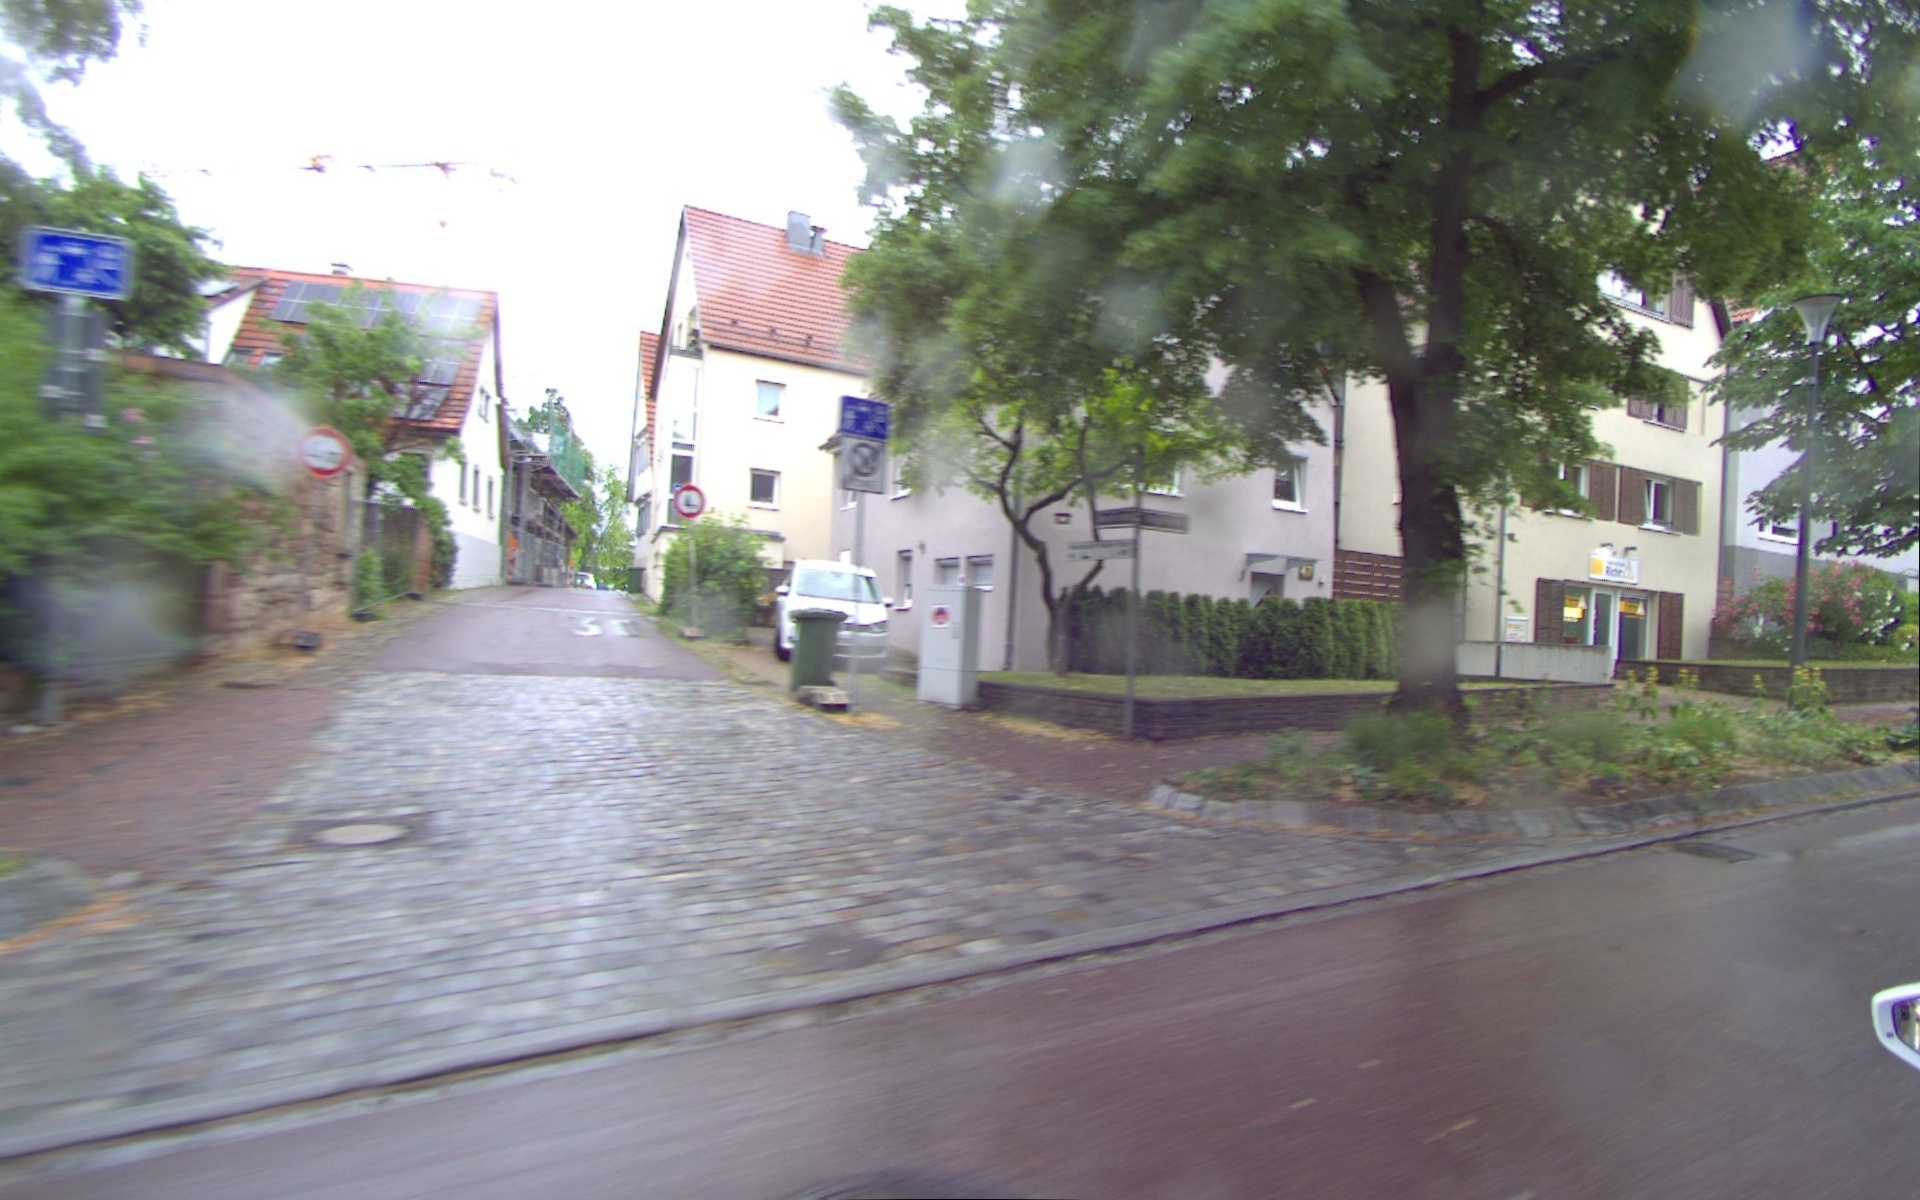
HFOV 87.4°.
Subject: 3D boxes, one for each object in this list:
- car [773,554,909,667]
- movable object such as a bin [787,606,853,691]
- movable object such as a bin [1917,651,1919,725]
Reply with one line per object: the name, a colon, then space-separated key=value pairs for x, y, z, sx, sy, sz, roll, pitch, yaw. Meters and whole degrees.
car: x=-2.256 y=0.158 z=17.935 sx=1.965 sy=1.710 sz=4.434 roll=2 pitch=0 yaw=-12
movable object such as a bin: x=-1.804 y=0.619 z=12.881 sx=0.727 sy=1.048 sz=0.572 roll=2 pitch=-1 yaw=-18
movable object such as a bin: x=14.916 y=1.339 z=15.019 sx=0.808 sy=1.119 sz=0.666 roll=3 pitch=-1 yaw=-30
